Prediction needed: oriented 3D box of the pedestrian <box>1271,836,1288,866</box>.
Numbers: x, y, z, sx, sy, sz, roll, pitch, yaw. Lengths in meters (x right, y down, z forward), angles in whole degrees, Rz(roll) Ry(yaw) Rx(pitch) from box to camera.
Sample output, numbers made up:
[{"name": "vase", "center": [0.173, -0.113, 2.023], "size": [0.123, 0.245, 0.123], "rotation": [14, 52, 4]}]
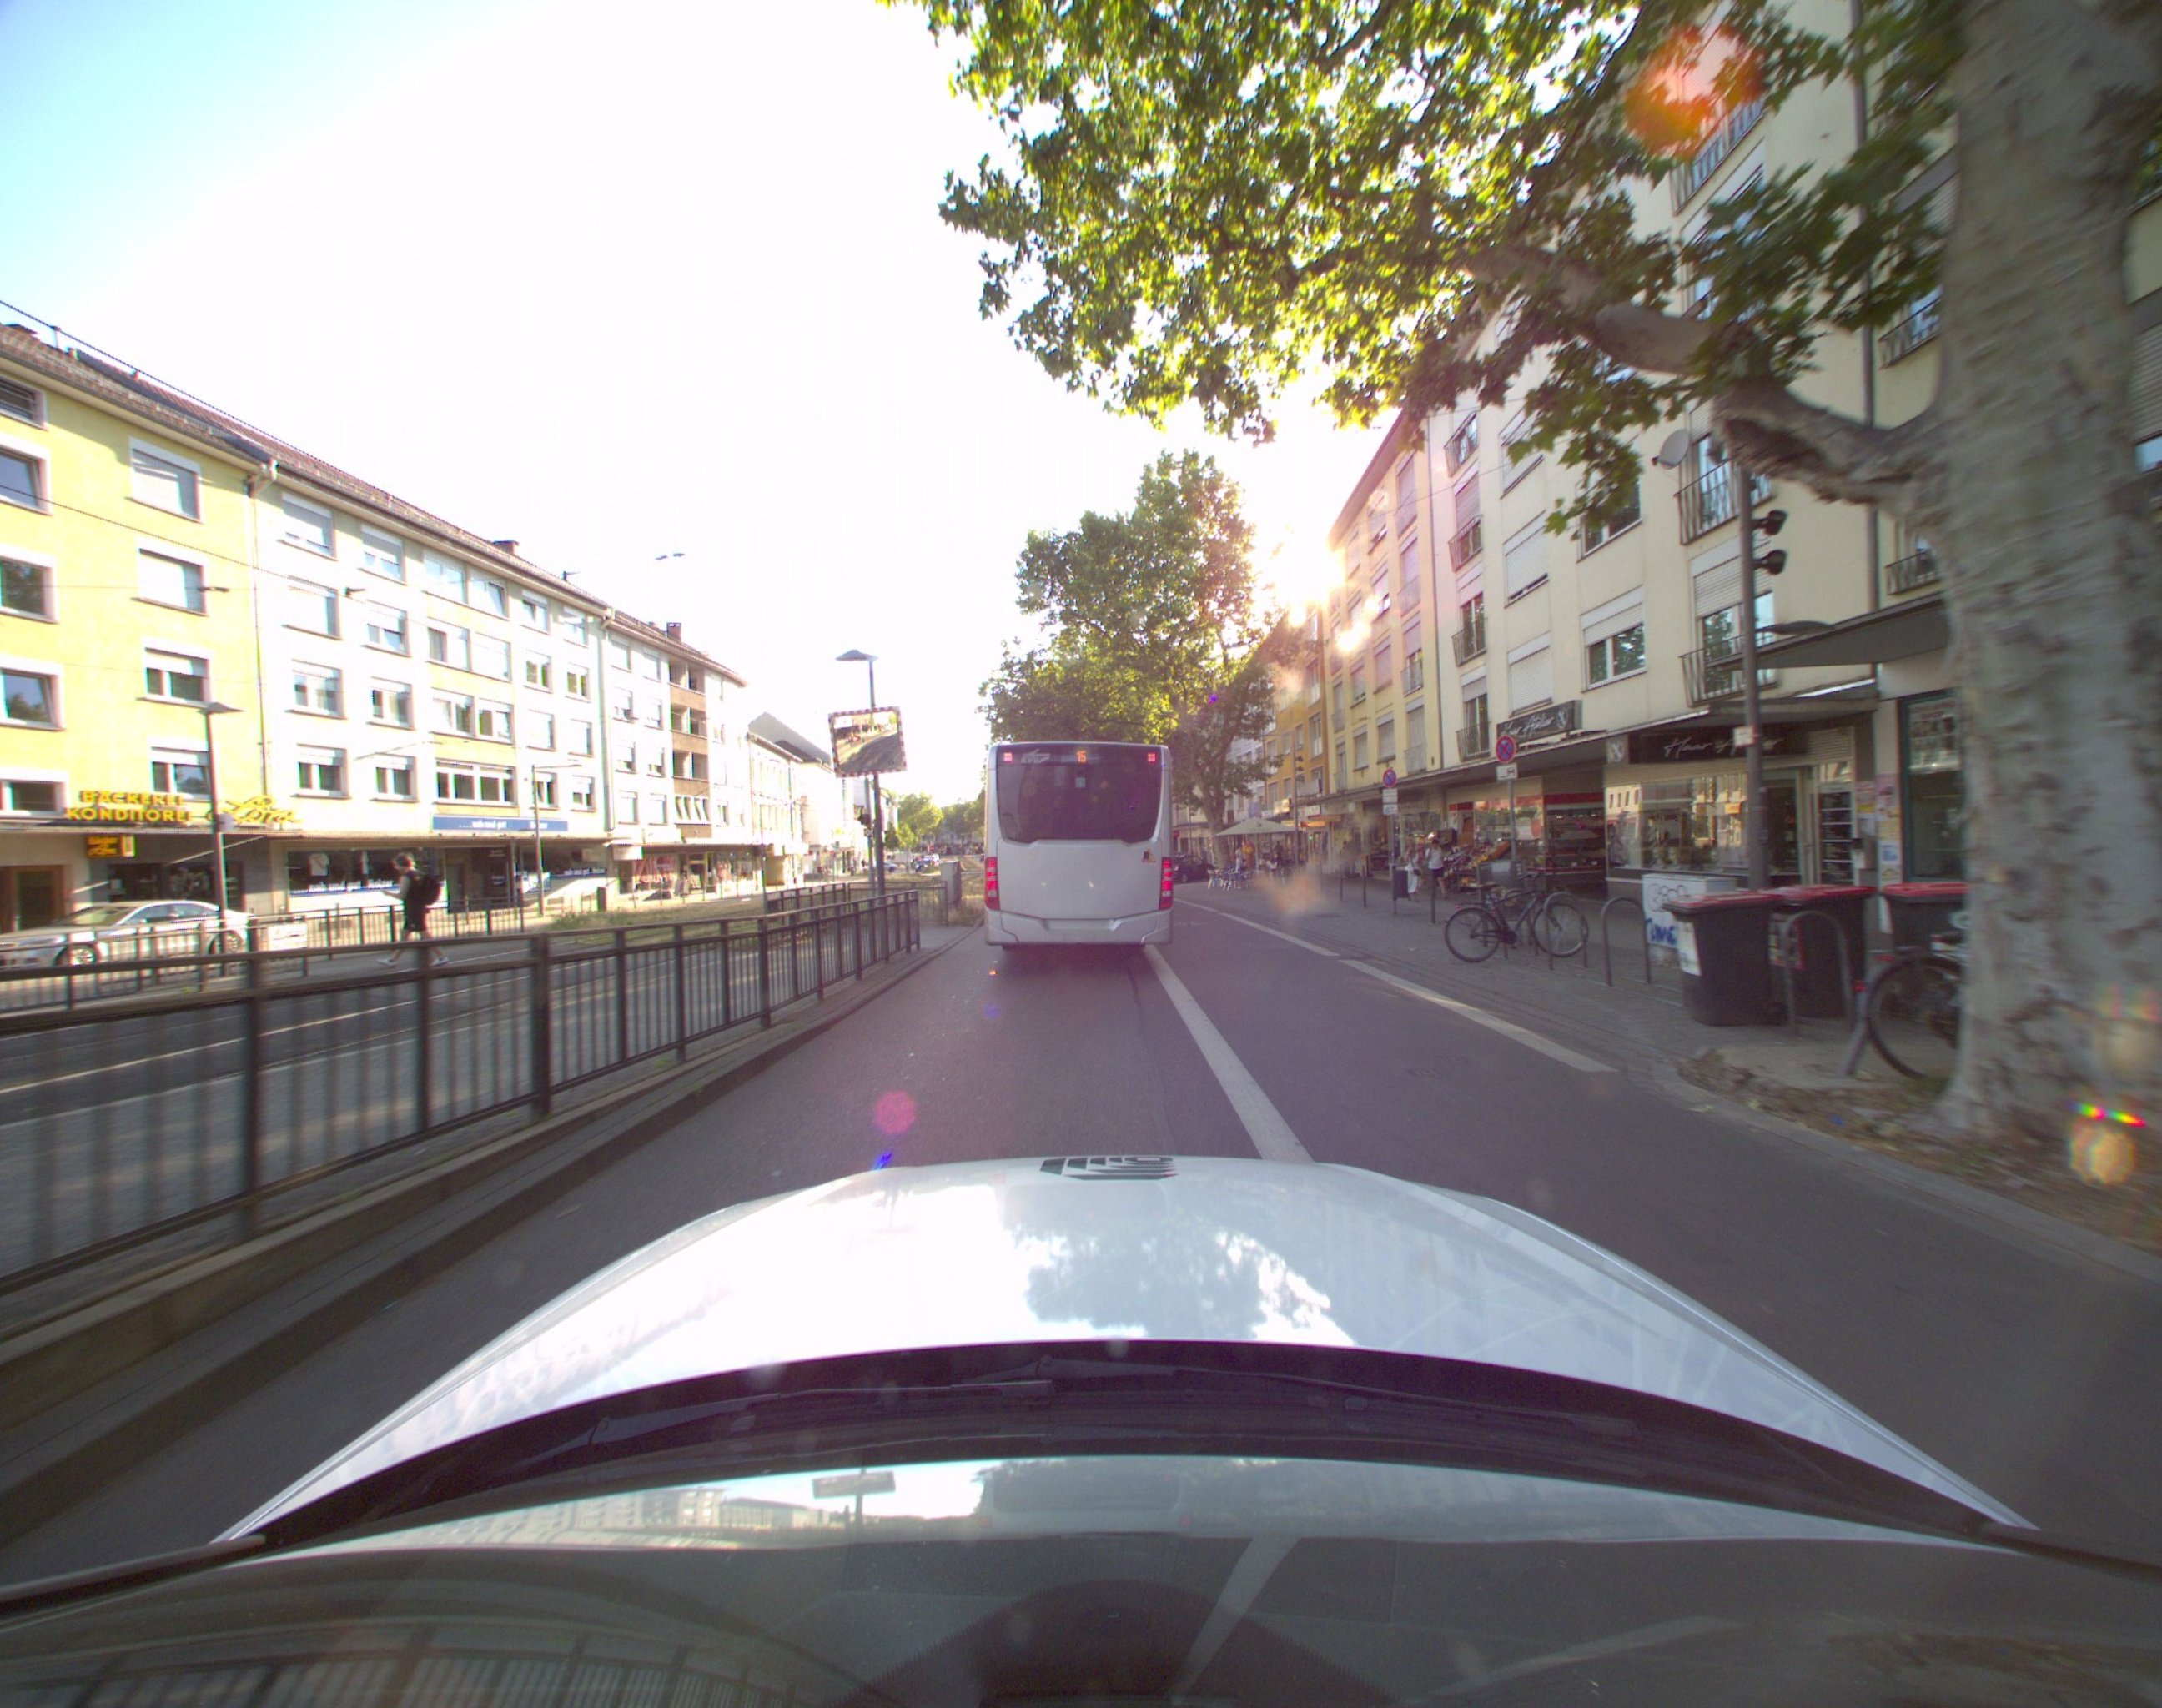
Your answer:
[{"name": "pedestrian", "center": [12.220, -0.193, 50.229], "size": [0.704, 1.791, 0.788], "rotation": [-6, 0, 2]}]

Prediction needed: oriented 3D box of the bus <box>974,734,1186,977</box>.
[{"name": "bus", "center": [-0.012, -0.001, 14.039], "size": [2.669, 3.083, 7.113], "rotation": [-1, 0, 0]}]

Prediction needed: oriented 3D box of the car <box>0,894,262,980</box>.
[{"name": "car", "center": [-21.615, 1.759, 18.265], "size": [1.987, 1.478, 4.411], "rotation": [-1, 0, 0]}]

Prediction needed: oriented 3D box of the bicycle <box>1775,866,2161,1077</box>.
[{"name": "bicycle", "center": [5.266, 0.654, 4.751], "size": [1.710, 1.118, 0.746], "rotation": [-1, -3, 3]}]

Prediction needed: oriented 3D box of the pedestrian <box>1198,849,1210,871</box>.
[{"name": "pedestrian", "center": [10.313, 0.480, 68.070], "size": [0.779, 1.794, 0.763], "rotation": [-2, 0, -4]}]

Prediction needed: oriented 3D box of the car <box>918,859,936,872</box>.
[{"name": "car", "center": [-19.661, 1.484, 104.058], "size": [1.718, 1.509, 3.472], "rotation": [-5, 0, -3]}]

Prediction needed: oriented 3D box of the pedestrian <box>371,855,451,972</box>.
[{"name": "pedestrian", "center": [-10.942, 0.950, 13.318], "size": [0.739, 1.848, 0.589], "rotation": [-3, 0, -3]}]

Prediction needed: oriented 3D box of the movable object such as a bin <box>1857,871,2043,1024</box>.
[{"name": "movable object such as a bin", "center": [6.628, 0.697, 6.257], "size": [0.716, 1.072, 0.647], "rotation": [-4, -1, 21]}]

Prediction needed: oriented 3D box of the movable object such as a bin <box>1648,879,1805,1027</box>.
[{"name": "movable object such as a bin", "center": [5.385, 0.807, 6.837], "size": [0.718, 1.102, 0.646], "rotation": [-6, -1, 10]}]

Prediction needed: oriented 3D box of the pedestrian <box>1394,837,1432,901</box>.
[{"name": "pedestrian", "center": [8.590, 0.391, 21.084], "size": [0.633, 1.586, 0.627], "rotation": [-5, 0, 2]}]

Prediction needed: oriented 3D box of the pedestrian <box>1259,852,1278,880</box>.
[{"name": "pedestrian", "center": [8.654, 0.547, 37.634], "size": [0.604, 1.225, 0.744], "rotation": [-2, 0, -4]}]

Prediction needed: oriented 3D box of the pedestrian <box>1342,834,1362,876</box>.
[{"name": "pedestrian", "center": [11.765, 0.034, 35.364], "size": [0.629, 1.804, 0.631], "rotation": [-3, 0, 32]}]

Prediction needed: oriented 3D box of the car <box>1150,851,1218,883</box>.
[{"name": "car", "center": [5.585, 0.675, 43.811], "size": [3.630, 1.540, 1.720], "rotation": [-2, 0, -45]}]

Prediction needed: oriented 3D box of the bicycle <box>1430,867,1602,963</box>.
[{"name": "bicycle", "center": [5.786, 0.813, 10.913], "size": [1.896, 1.105, 0.519], "rotation": [-5, 0, 9]}]

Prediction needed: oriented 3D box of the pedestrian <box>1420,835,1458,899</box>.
[{"name": "pedestrian", "center": [9.272, 0.337, 21.114], "size": [0.620, 1.586, 0.627], "rotation": [-5, 0, 2]}]

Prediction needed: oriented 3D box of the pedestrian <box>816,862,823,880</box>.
[{"name": "pedestrian", "center": [-26.416, 1.707, 82.216], "size": [0.424, 1.713, 0.508], "rotation": [-2, 0, 0]}]

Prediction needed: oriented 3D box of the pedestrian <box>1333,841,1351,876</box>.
[{"name": "pedestrian", "center": [11.829, 0.216, 36.883], "size": [0.619, 1.546, 0.641], "rotation": [-3, 0, 27]}]

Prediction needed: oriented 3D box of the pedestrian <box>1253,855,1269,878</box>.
[{"name": "pedestrian", "center": [8.854, 0.593, 40.004], "size": [0.582, 1.115, 0.750], "rotation": [-1, 0, -4]}]

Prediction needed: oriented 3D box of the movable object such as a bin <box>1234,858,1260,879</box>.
[{"name": "movable object such as a bin", "center": [8.327, 0.702, 40.902], "size": [0.931, 1.023, 0.832], "rotation": [0, 0, -26]}]

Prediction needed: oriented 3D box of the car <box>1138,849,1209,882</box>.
[{"name": "car", "center": [5.316, 0.660, 46.523], "size": [4.176, 1.681, 1.787], "rotation": [-2, 0, -45]}]

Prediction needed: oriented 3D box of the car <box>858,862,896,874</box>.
[{"name": "car", "center": [-27.605, 1.955, 110.404], "size": [4.576, 1.412, 1.976], "rotation": [-2, 0, -40]}]

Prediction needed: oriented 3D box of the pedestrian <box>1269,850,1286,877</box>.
[{"name": "pedestrian", "center": [9.488, 0.462, 39.311], "size": [0.582, 1.275, 0.758], "rotation": [-1, 0, -4]}]

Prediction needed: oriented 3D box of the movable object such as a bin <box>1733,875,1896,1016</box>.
[{"name": "movable object such as a bin", "center": [6.185, 0.746, 6.903], "size": [0.719, 1.072, 0.644], "rotation": [-4, -1, 1]}]
